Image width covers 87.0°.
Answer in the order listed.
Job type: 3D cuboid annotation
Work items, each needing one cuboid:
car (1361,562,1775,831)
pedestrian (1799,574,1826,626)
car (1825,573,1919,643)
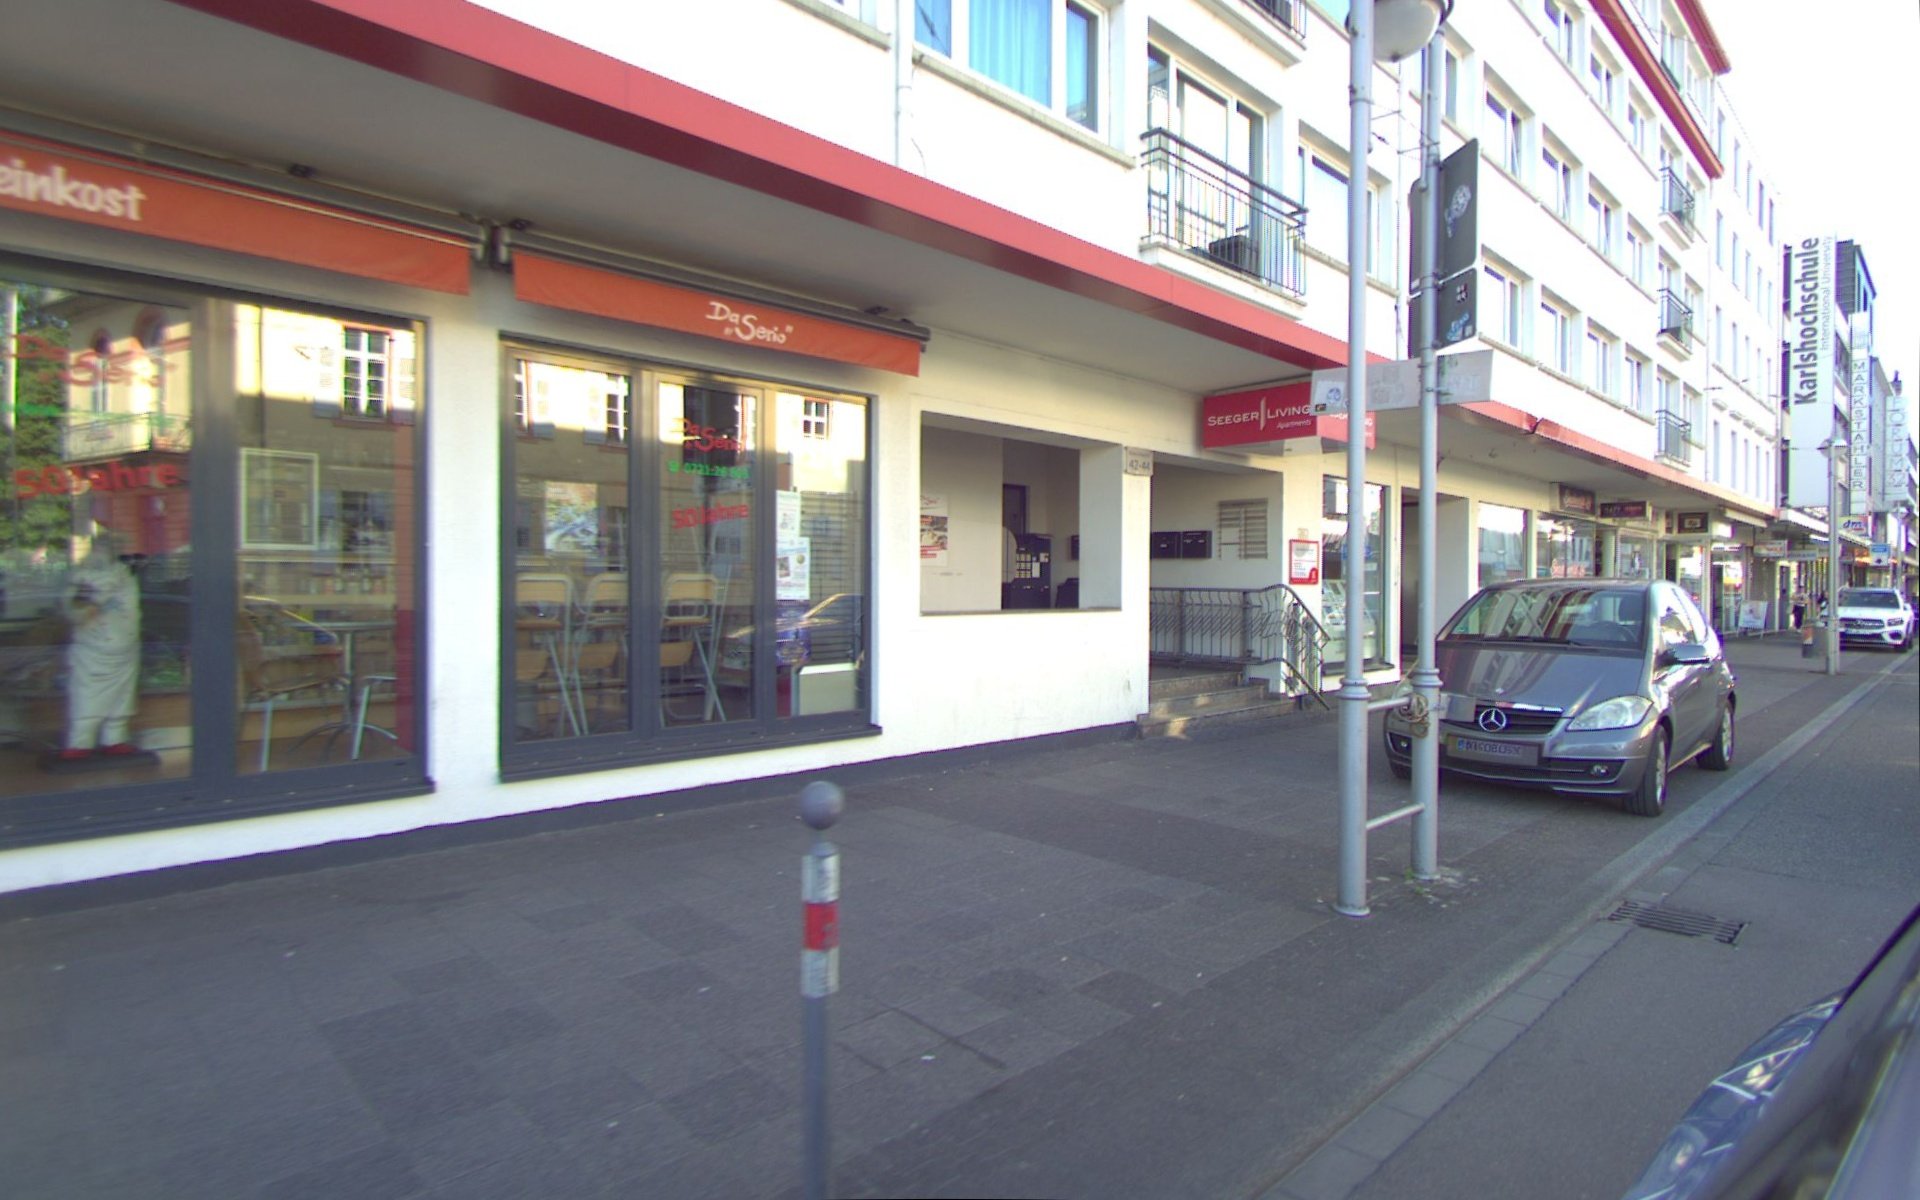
[{"bbox_3d":[4.931,0.511,7.982,3.895,1.588,1.779,-1,3,-43],"label":"car"},{"bbox_3d":[30.760,0.005,36.515,0.704,1.840,0.795,0,1,45],"label":"pedestrian"},{"bbox_3d":[24.445,0.146,26.854,4.093,1.683,1.781,-1,3,-43],"label":"car"}]
